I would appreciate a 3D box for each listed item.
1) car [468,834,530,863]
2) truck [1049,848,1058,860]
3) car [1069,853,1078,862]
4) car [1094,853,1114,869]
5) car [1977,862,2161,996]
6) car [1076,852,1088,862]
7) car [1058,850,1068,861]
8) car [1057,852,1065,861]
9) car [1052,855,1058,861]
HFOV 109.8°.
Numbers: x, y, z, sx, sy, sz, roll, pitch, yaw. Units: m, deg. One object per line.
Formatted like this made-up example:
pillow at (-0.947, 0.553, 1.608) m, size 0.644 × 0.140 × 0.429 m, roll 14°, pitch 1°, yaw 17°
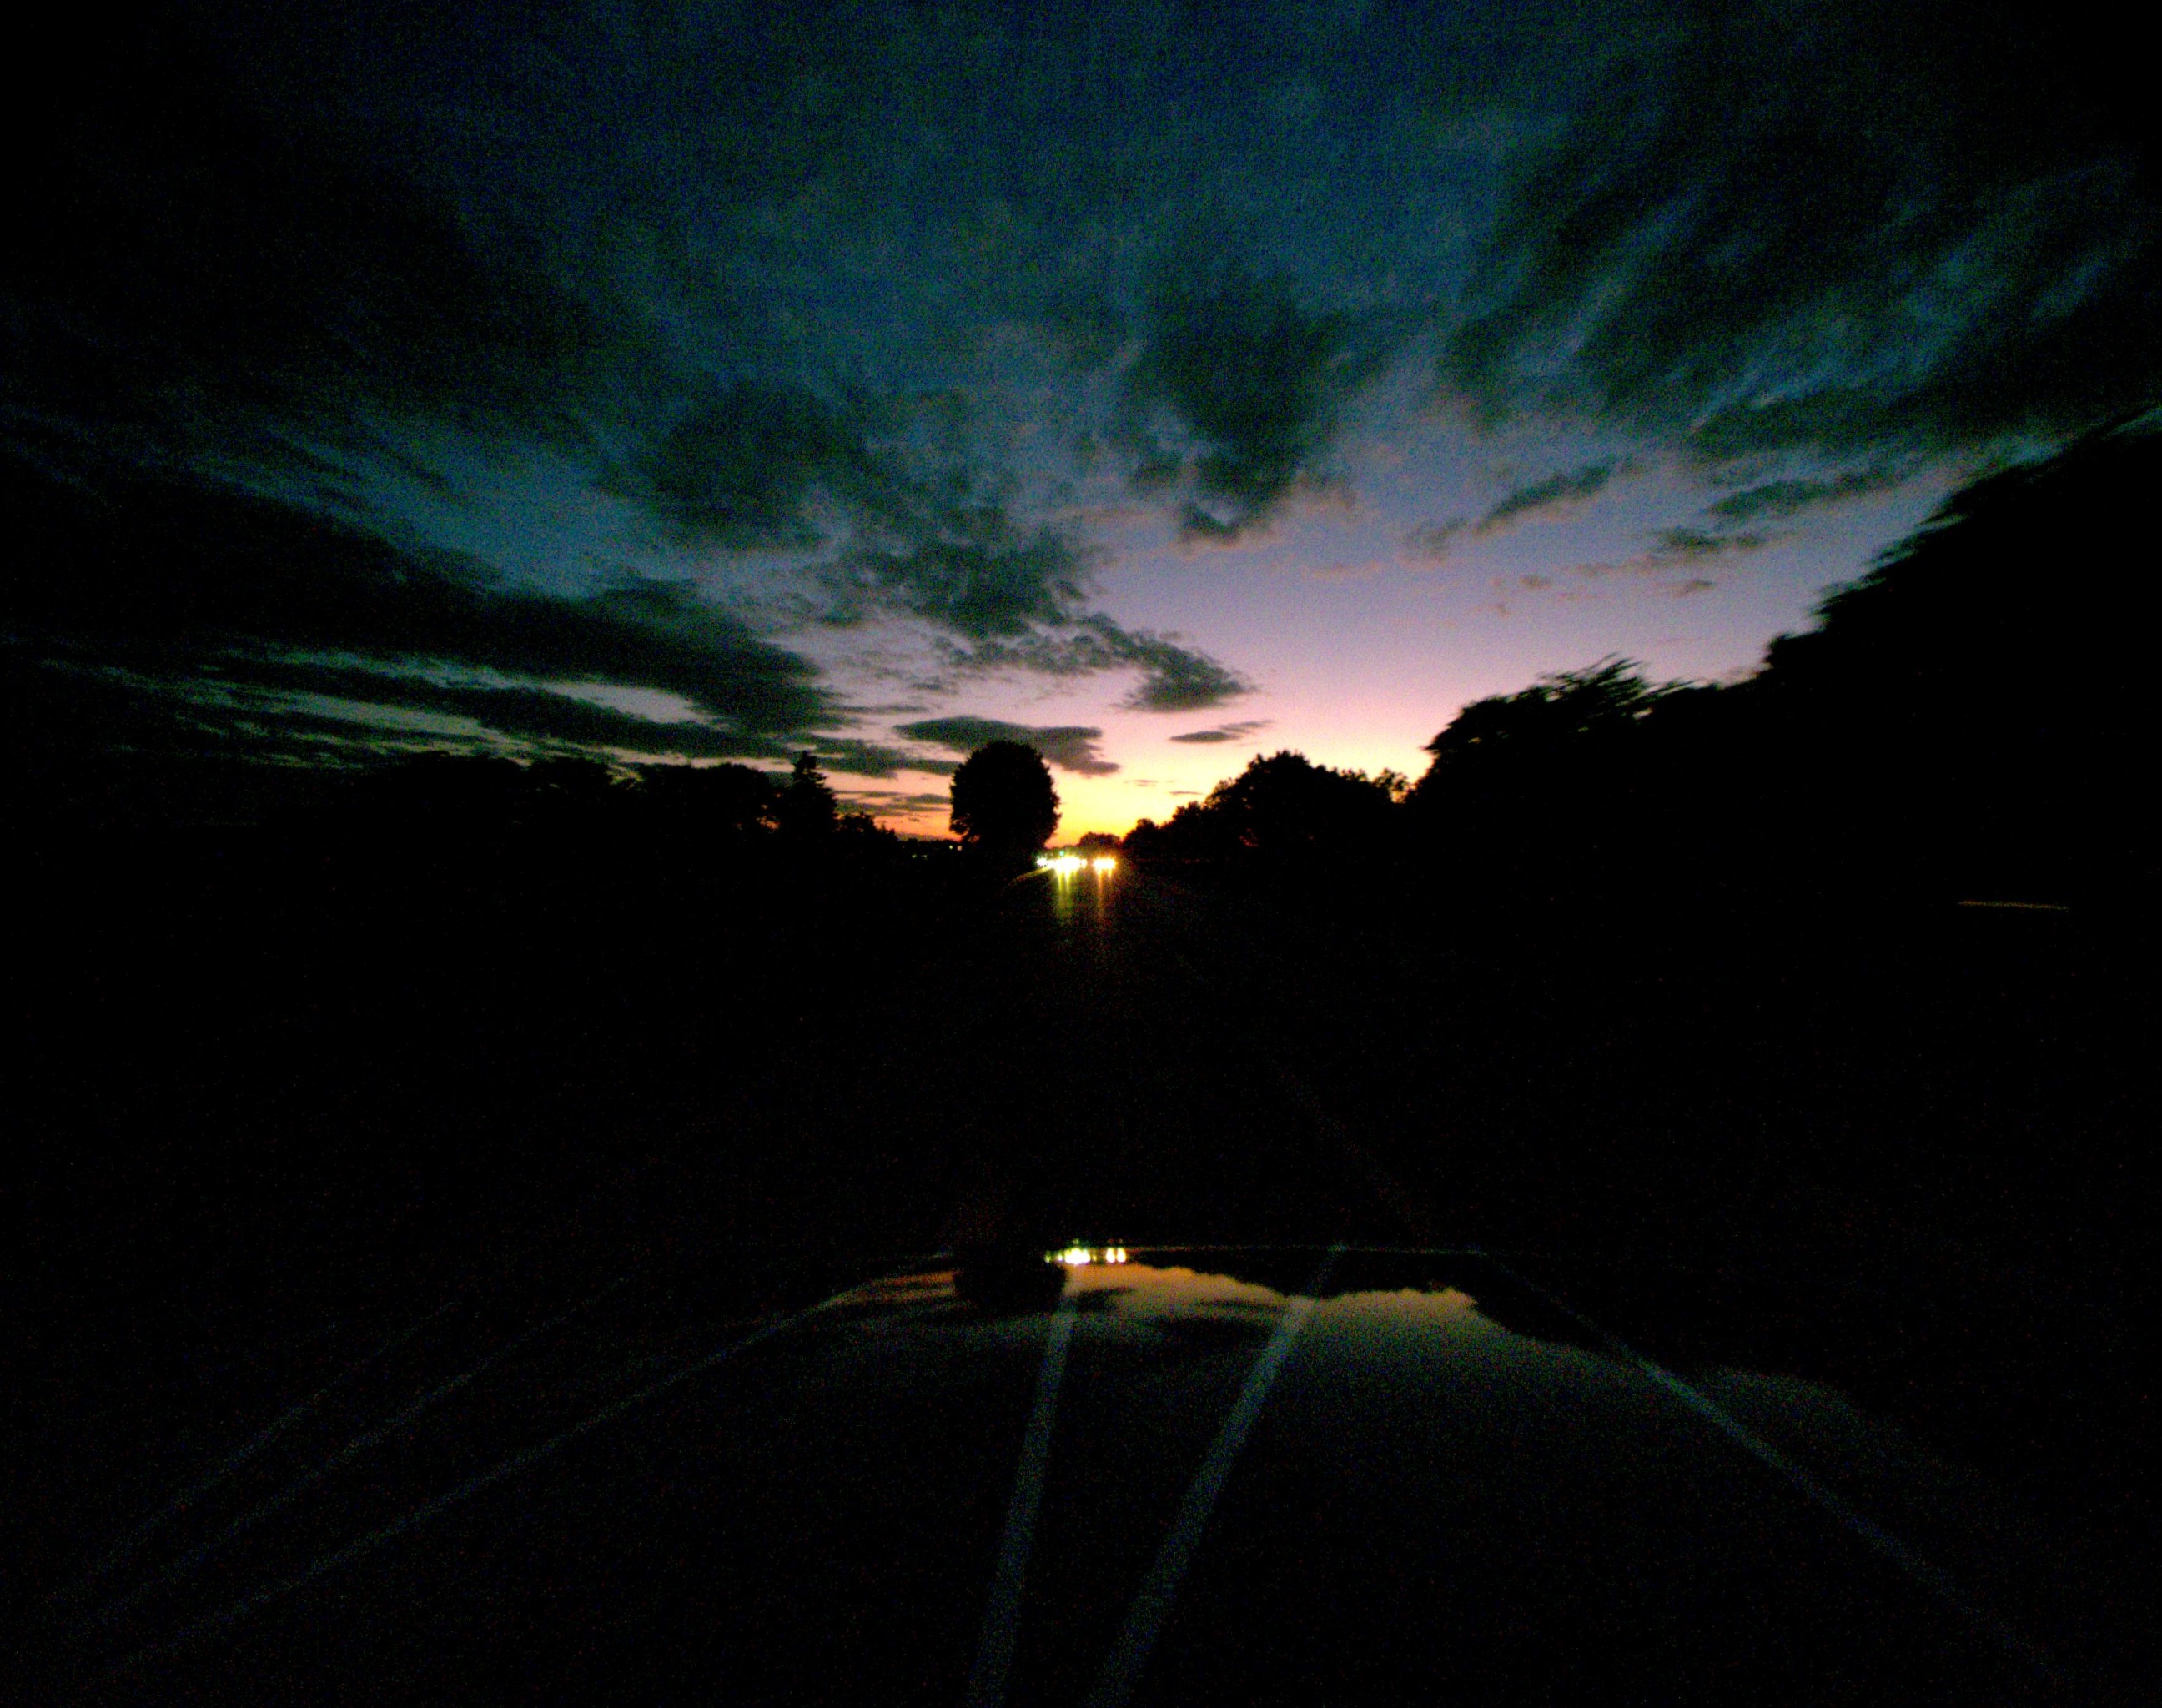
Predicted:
car at (-44.566, -0.413, 58.303) m, size 2.001 × 2.139 × 4.574 m, roll 1°, pitch 0°, yaw -12°
truck at (-9.362, 0.017, 259.903) m, size 3.017 × 3.674 × 9.056 m, roll -2°, pitch 0°, yaw -3°
car at (-1.840, 0.783, 183.946) m, size 1.999 × 2.002 × 3.999 m, roll -2°, pitch 0°, yaw -3°
car at (2.526, 0.767, 85.326) m, size 1.999 × 1.635 × 4.296 m, roll -2°, pitch 0°, yaw 0°
car at (15.543, 1.035, 10.475) m, size 1.673 × 1.748 × 4.000 m, roll -2°, pitch 0°, yaw 1°
car at (0.179, 0.622, 150.115) m, size 1.999 × 1.778 × 3.998 m, roll -2°, pitch 0°, yaw -4°
car at (-3.356, 0.293, 140.443) m, size 1.741 × 2.002 × 4.000 m, roll -2°, pitch 0°, yaw -1°
car at (-4.947, 0.634, 188.595) m, size 1.999 × 2.002 × 3.999 m, roll -2°, pitch 0°, yaw -3°
car at (-7.521, 1.033, 218.175) m, size 1.480 × 1.619 × 3.210 m, roll -2°, pitch 0°, yaw -2°
